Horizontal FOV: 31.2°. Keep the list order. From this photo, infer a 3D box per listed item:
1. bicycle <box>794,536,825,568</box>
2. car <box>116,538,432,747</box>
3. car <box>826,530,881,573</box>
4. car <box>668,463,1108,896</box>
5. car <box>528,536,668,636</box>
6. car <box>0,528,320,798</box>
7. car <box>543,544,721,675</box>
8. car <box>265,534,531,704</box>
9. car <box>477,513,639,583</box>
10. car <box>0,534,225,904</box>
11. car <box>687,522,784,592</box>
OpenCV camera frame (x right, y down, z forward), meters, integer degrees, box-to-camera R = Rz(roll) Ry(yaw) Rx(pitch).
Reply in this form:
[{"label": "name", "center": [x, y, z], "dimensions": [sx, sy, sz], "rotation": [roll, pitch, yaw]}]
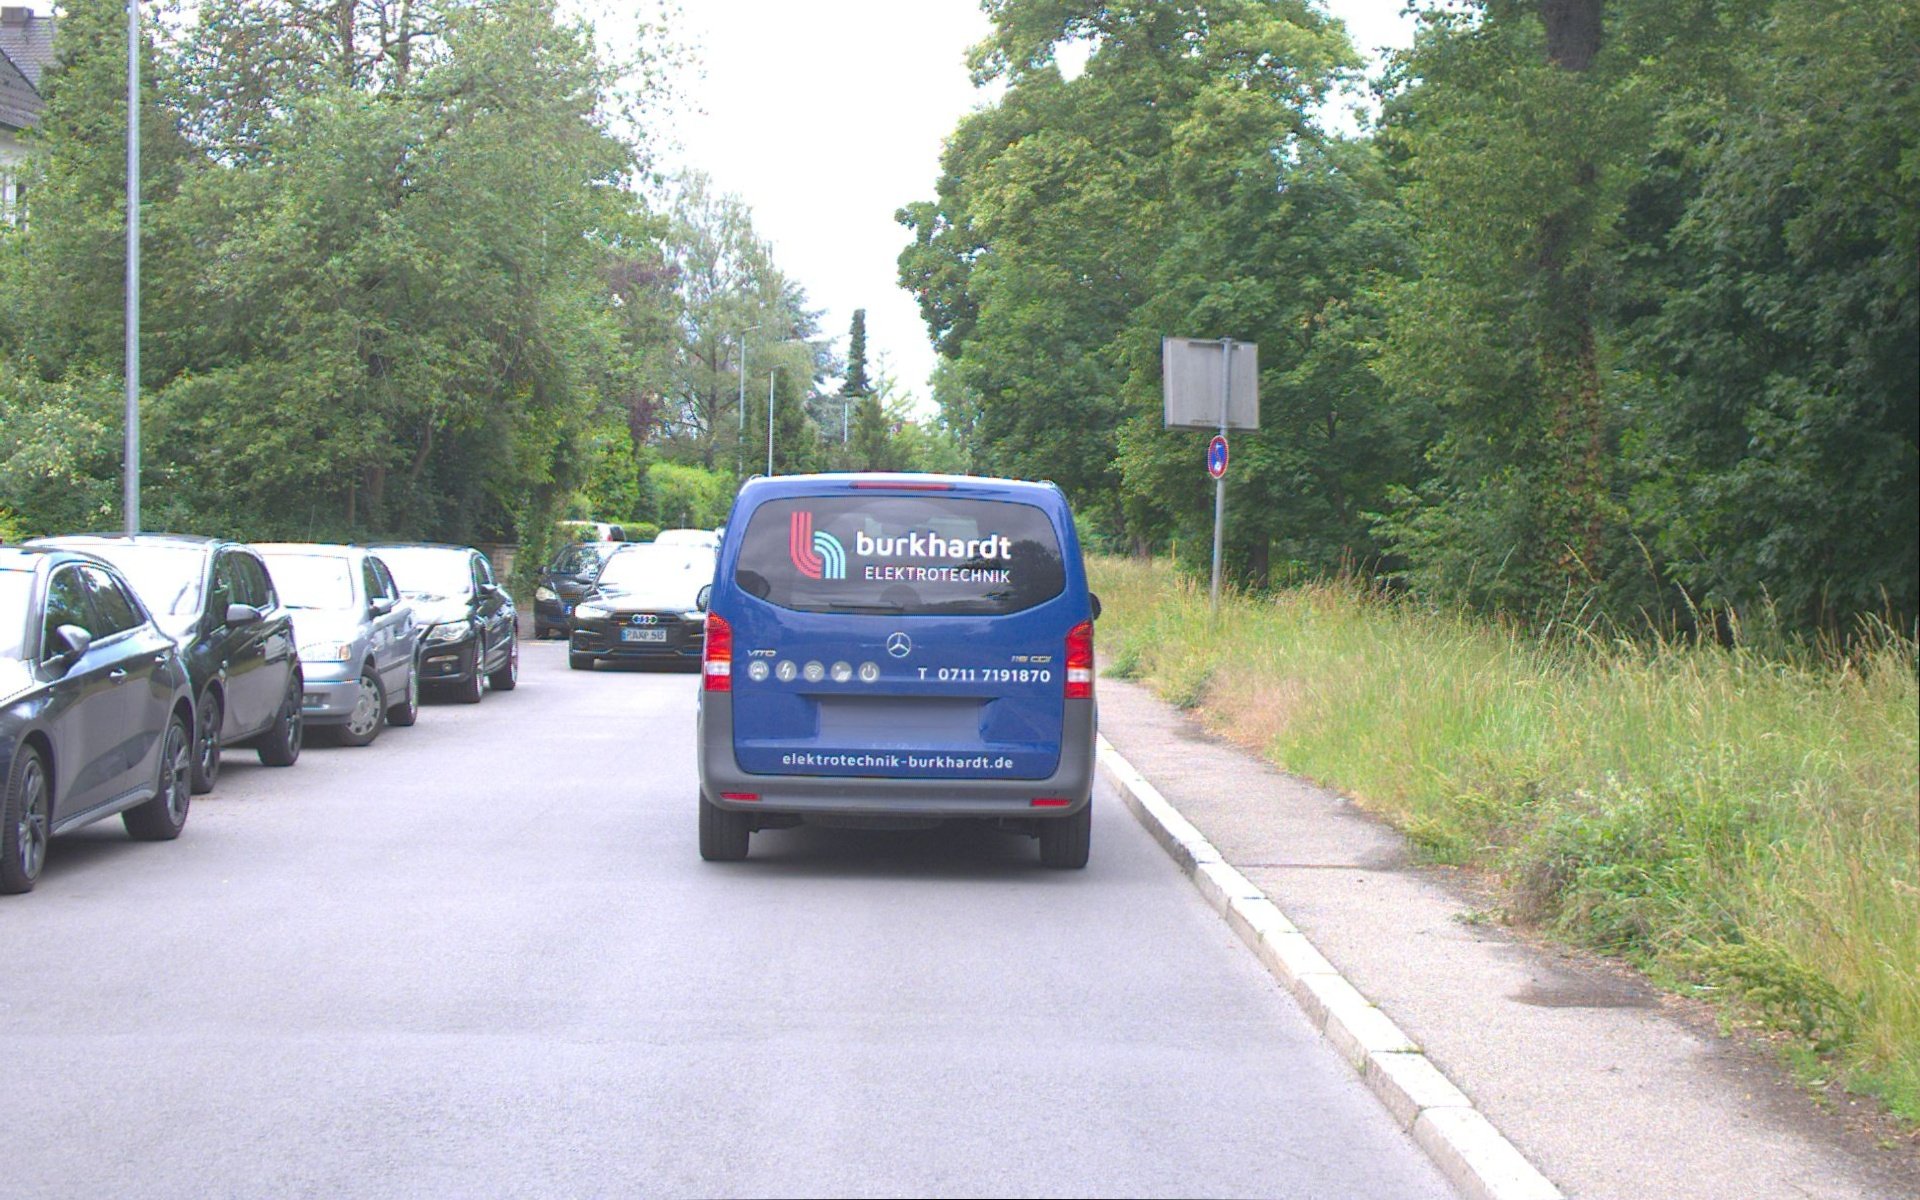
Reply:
[{"label": "bicycle", "center": [-6.118, -1.946, 139.763], "dimensions": [0.906, 1.247, 2.916], "rotation": [4, 1, 3]}, {"label": "car", "center": [-5.045, 0.253, 25.774], "dimensions": [1.624, 1.427, 4.352], "rotation": [0, 1, -2]}, {"label": "car", "center": [-4.409, -2.015, 142.621], "dimensions": [1.836, 1.625, 4.300], "rotation": [3, 1, 3]}, {"label": "car", "center": [-0.415, 0.280, 17.404], "dimensions": [1.888, 1.837, 4.001], "rotation": [3, 2, -3]}, {"label": "car", "center": [-5.489, -0.240, 52.480], "dimensions": [1.623, 1.445, 3.969], "rotation": [1, 1, 1]}, {"label": "car", "center": [-5.051, 0.309, 20.880], "dimensions": [1.624, 1.477, 4.000], "rotation": [0, 1, -1]}, {"label": "car", "center": [-3.839, 0.070, 40.832], "dimensions": [1.780, 1.421, 4.490], "rotation": [1, 1, -2]}, {"label": "car", "center": [-5.171, 0.116, 32.262], "dimensions": [1.778, 1.427, 5.106], "rotation": [1, 1, -2]}, {"label": "car", "center": [-10.337, -1.348, 88.500], "dimensions": [3.694, 1.632, 1.827], "rotation": [3, 1, 13]}, {"label": "car", "center": [-4.686, 0.440, 15.660], "dimensions": [1.706, 1.477, 4.496], "rotation": [0, 1, 0]}, {"label": "car", "center": [-5.928, -1.164, 91.375], "dimensions": [1.974, 1.731, 5.189], "rotation": [2, 1, 2]}]
